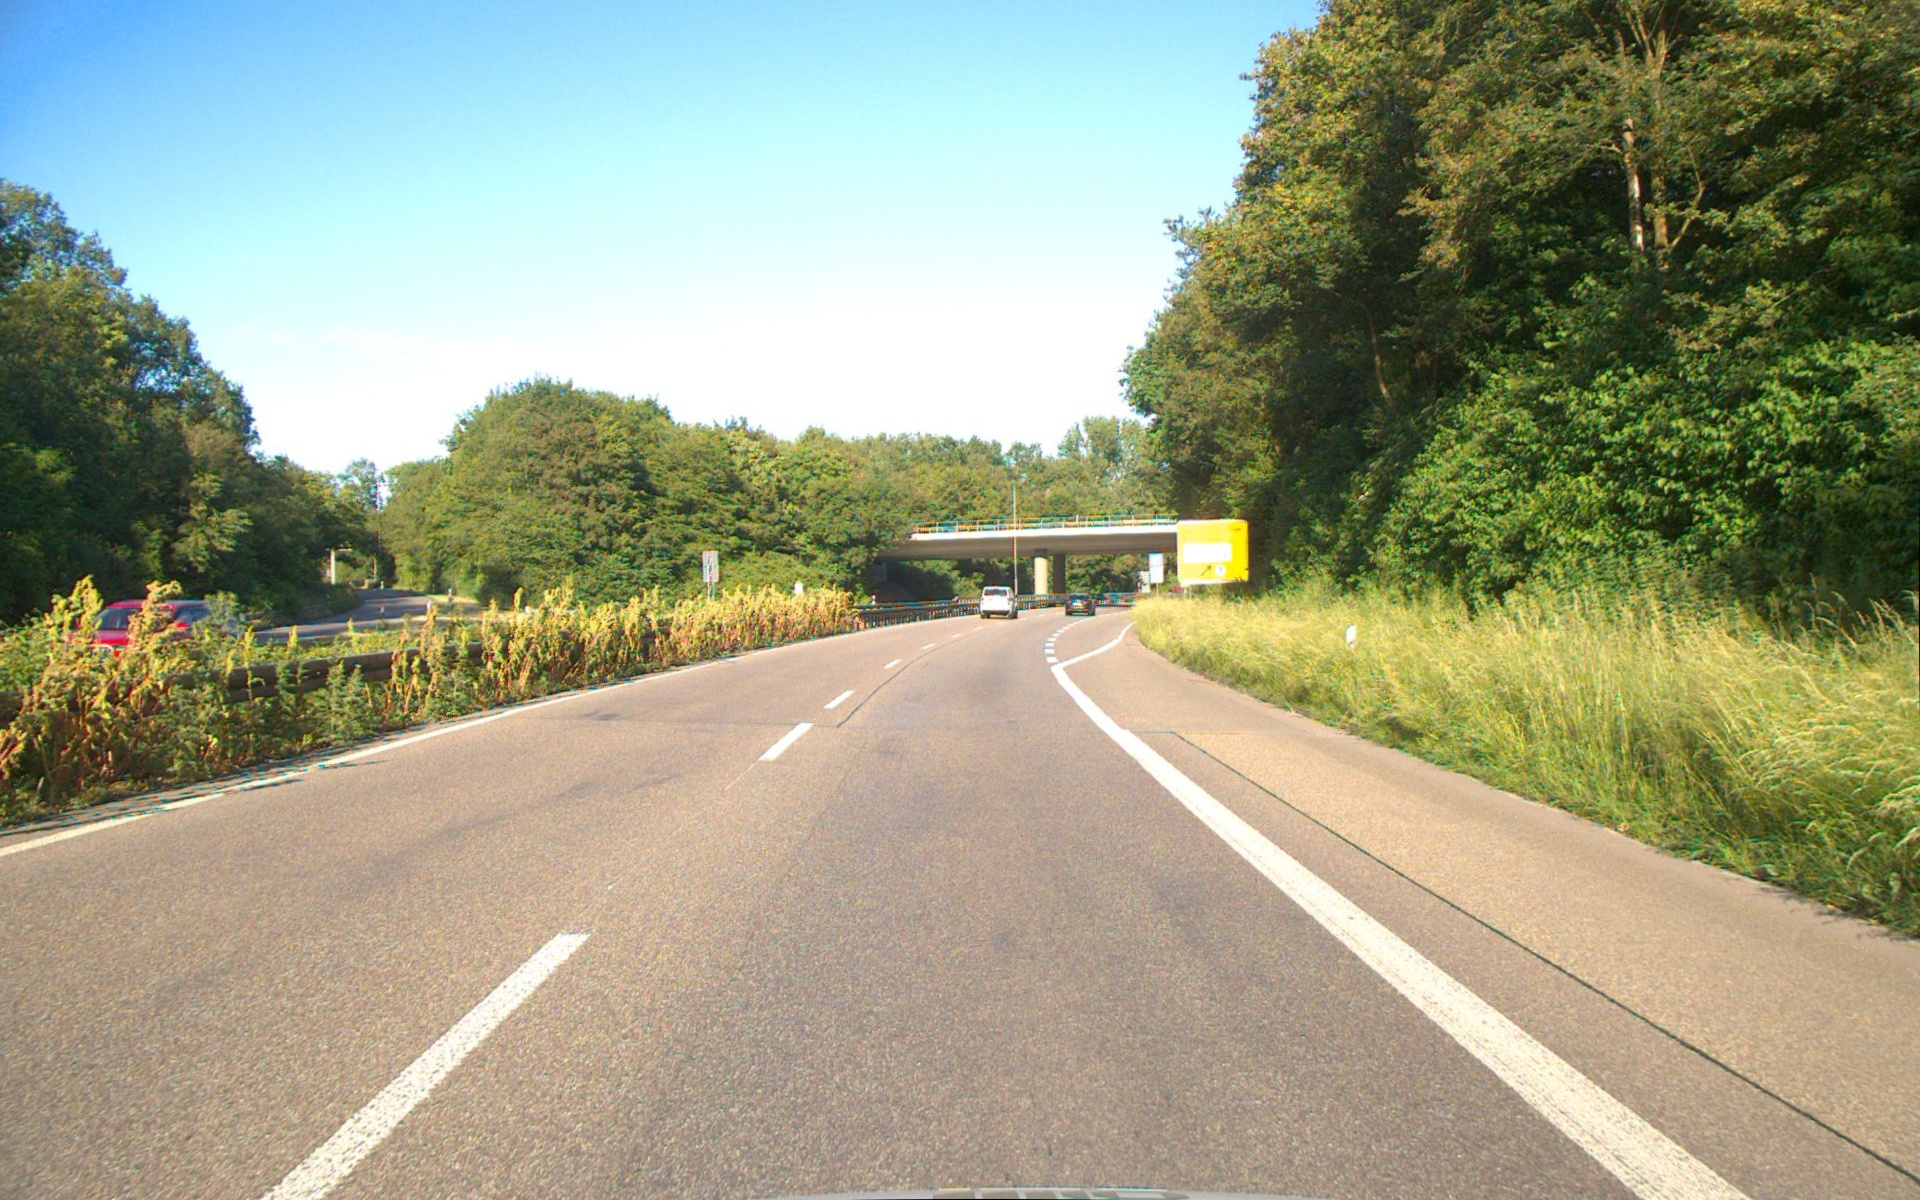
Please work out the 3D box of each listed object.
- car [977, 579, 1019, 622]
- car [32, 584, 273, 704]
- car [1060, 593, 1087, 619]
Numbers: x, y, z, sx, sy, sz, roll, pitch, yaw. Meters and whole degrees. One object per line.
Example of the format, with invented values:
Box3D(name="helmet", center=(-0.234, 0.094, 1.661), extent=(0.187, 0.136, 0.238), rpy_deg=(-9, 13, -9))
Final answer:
Box3D(name="car", center=(2.167, 0.021, 93.542), extent=(1.951, 2.317, 4.003), rpy_deg=(0, 0, 8))
Box3D(name="car", center=(-14.962, 0.776, 30.985), extent=(2.004, 2.049, 4.763), rpy_deg=(1, 0, 2))
Box3D(name="car", center=(7.598, 0.412, 110.864), extent=(1.703, 1.691, 3.947), rpy_deg=(0, 0, 3))
